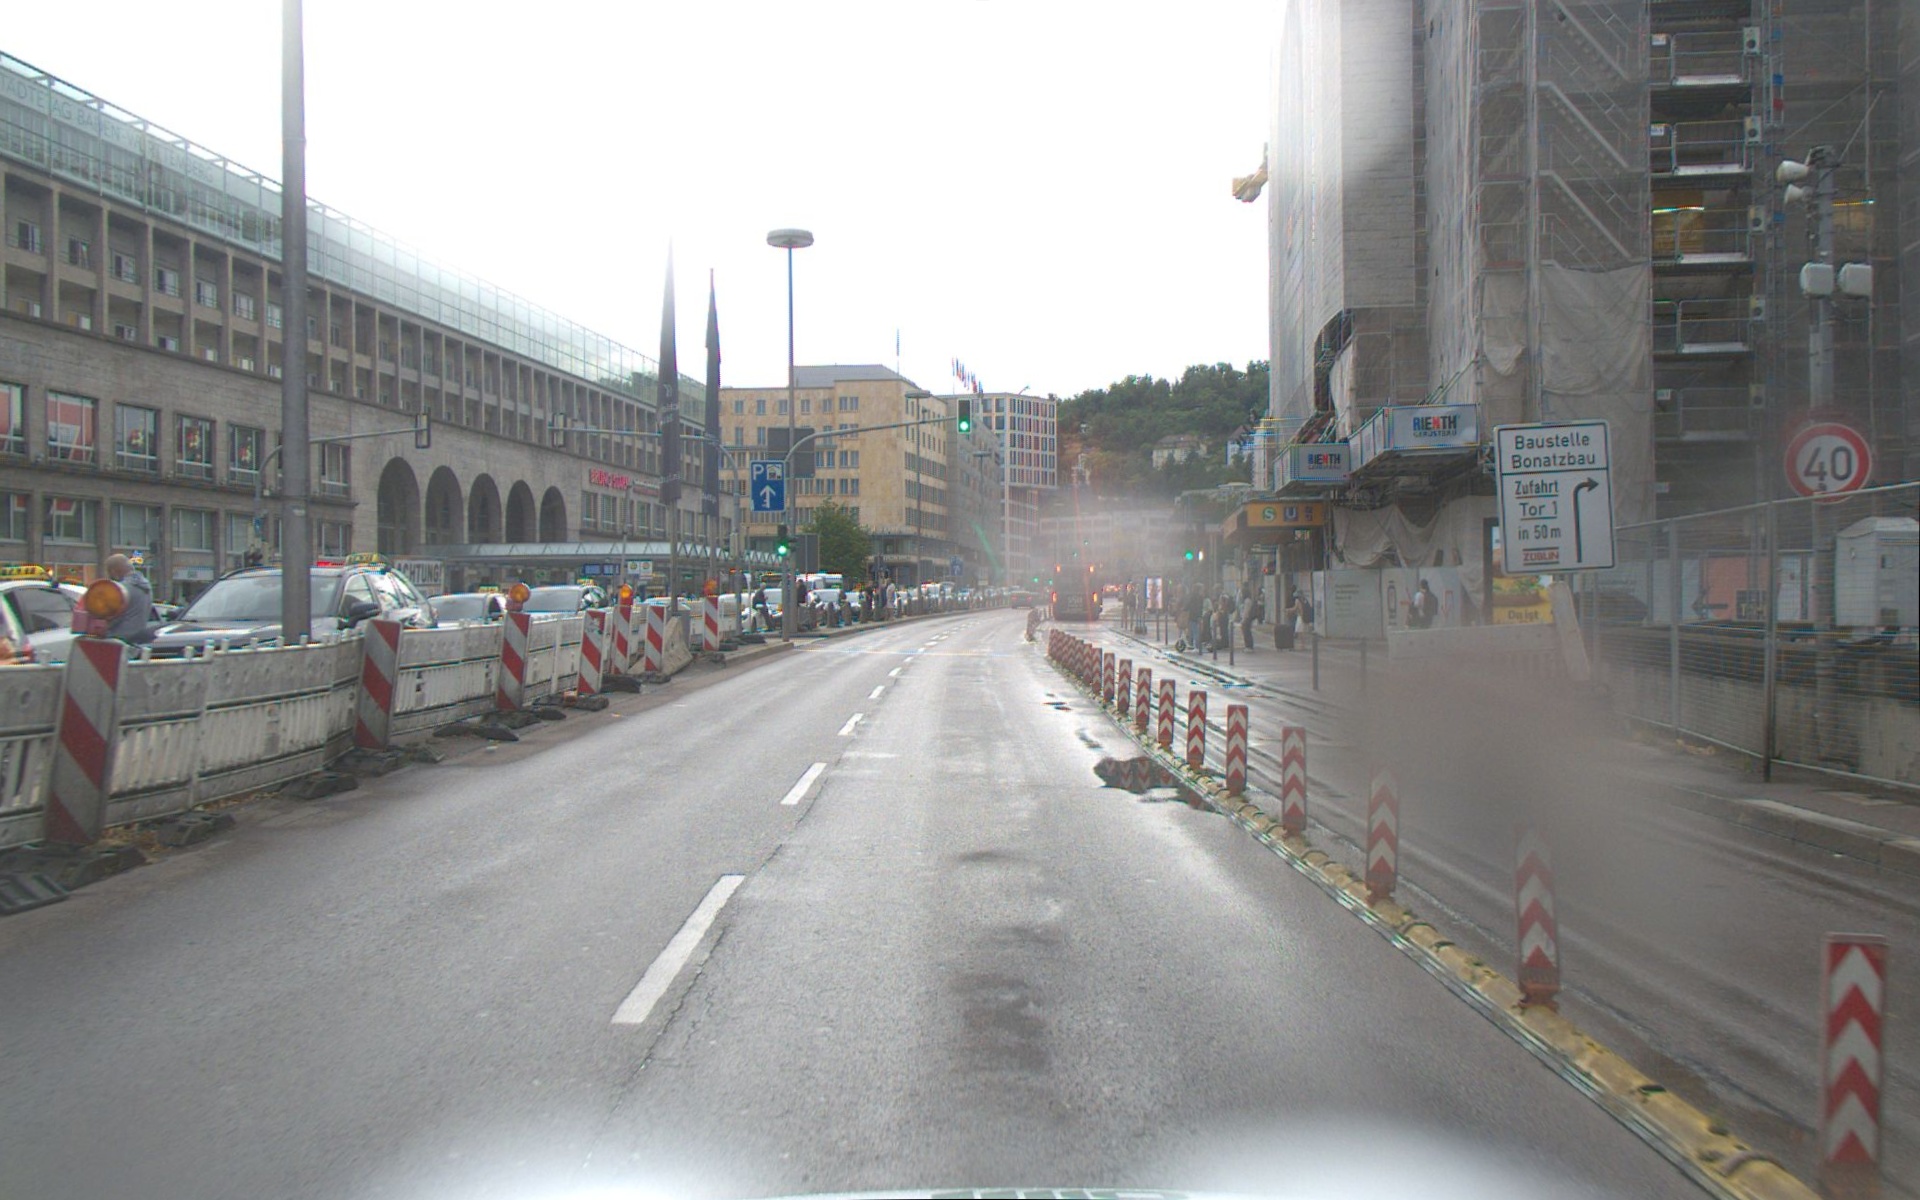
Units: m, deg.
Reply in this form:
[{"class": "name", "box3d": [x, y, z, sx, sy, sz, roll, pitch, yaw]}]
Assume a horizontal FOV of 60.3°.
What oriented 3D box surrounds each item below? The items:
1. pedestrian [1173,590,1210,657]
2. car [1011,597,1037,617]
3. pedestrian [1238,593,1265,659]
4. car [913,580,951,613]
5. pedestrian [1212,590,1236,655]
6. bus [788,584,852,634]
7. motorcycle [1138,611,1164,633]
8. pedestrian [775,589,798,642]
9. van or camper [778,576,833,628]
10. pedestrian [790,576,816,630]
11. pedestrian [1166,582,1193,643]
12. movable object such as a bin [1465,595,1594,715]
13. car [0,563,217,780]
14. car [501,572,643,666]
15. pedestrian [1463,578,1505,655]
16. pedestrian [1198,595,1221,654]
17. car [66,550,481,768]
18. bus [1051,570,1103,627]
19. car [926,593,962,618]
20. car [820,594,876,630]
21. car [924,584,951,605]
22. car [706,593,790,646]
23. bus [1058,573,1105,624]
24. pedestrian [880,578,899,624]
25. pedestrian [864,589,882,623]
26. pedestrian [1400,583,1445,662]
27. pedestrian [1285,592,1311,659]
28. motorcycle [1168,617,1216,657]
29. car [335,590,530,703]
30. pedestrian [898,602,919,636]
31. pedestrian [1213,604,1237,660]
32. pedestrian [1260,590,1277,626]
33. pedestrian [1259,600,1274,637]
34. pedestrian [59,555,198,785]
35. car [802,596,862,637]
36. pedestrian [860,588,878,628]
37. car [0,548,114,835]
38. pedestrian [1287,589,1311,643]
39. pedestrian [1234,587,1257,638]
[{"class": "pedestrian", "box3d": [6.170, 0.611, 44.052, 0.575, 1.771, 0.811, 0, 0, -37]}, {"class": "car", "box3d": [5.249, 0.546, 136.595, 1.952, 1.579, 4.000, -1, 0, 0]}, {"class": "pedestrian", "box3d": [7.591, 0.669, 43.086, 0.546, 1.679, 0.615, -3, 0, 6]}, {"class": "car", "box3d": [-1.907, -0.268, 115.085, 1.951, 2.217, 5.548, -1, 0, 6]}, {"class": "pedestrian", "box3d": [7.383, 0.624, 46.258, 0.546, 1.782, 0.712, -3, 0, 6]}, {"class": "bus", "box3d": [-10.229, 0.624, 121.739, 2.816, 3.520, 10.581, 0, 0, 6]}, {"class": "motorcycle", "box3d": [10.465, 1.185, 90.474, 0.577, 1.186, 1.606, 0, 0, 44]}, {"class": "pedestrian", "box3d": [-5.821, 0.508, 55.541, 0.637, 1.741, 0.593, 1, 0, 3]}, {"class": "van or camper", "box3d": [-8.149, 0.068, 87.654, 1.952, 2.558, 5.373, -3, 0, 3]}, {"class": "pedestrian", "box3d": [-5.366, 0.102, 56.459, 0.767, 1.806, 0.605, -3, 0, -7]}, {"class": "pedestrian", "box3d": [6.554, 0.372, 49.455, 0.547, 1.789, 0.750, -3, 0, -8]}, {"class": "movable object such as a bin", "box3d": [7.584, 0.702, 21.983, 1.276, 1.518, 1.529, -1, 0, 33]}, {"class": "car", "box3d": [-9.733, 0.629, 17.005, 1.875, 1.883, 4.567, 5, 1, 2]}, {"class": "car", "box3d": [-8.506, 0.369, 36.672, 1.863, 1.931, 4.525, 1, 1, 3]}, {"class": "pedestrian", "box3d": [11.887, 0.374, 37.525, 0.717, 1.711, 1.110, -1, 0, 7]}, {"class": "pedestrian", "box3d": [7.221, 0.693, 47.959, 0.546, 1.669, 0.752, -3, 0, 6]}, {"class": "car", "box3d": [-6.630, 0.474, 16.682, 1.952, 1.849, 4.813, -1, 1, 3]}, {"class": "bus", "box3d": [6.878, -0.078, 96.380, 2.697, 3.122, 9.086, 1, 0, 6]}, {"class": "car", "box3d": [-1.140, 0.397, 120.446, 1.951, 1.752, 4.785, -1, 0, 7]}, {"class": "car", "box3d": [-5.356, 0.564, 79.826, 1.889, 1.604, 5.264, -2, 0, 5]}, {"class": "car", "box3d": [-1.806, -0.434, 133.425, 1.952, 1.579, 4.002, -1, 0, 3]}, {"class": "car", "box3d": [-7.083, 0.625, 55.812, 1.973, 1.649, 4.844, 0, 0, 3]}, {"class": "bus", "box3d": [7.778, -0.074, 105.399, 2.697, 3.119, 8.999, 1, 0, 6]}, {"class": "pedestrian", "box3d": [-3.194, 0.045, 75.035, 0.707, 2.043, 0.773, 1, 0, 5]}, {"class": "pedestrian", "box3d": [-4.157, 0.278, 78.904, 0.707, 1.634, 0.996, 1, 0, 5]}, {"class": "pedestrian", "box3d": [10.361, 0.503, 37.074, 0.720, 1.707, 0.958, -3, 0, 4]}, {"class": "pedestrian", "box3d": [8.751, 0.657, 42.853, 0.552, 1.679, 0.615, -3, 0, 10]}, {"class": "motorcycle", "box3d": [6.181, 0.975, 44.041, 0.580, 1.039, 1.223, 0, 0, -37]}, {"class": "car", "box3d": [-9.082, 0.734, 28.862, 1.746, 1.752, 4.485, -1, 1, 3]}, {"class": "pedestrian", "box3d": [-2.696, 0.987, 86.294, 1.028, 1.799, 0.617, 0, 0, 4]}, {"class": "pedestrian", "box3d": [7.208, 0.858, 44.986, 0.546, 1.474, 0.712, -3, 0, 6]}, {"class": "pedestrian", "box3d": [13.647, 0.360, 73.157, 0.637, 1.566, 0.666, -3, 0, 6]}, {"class": "pedestrian", "box3d": [16.031, 0.946, 86.532, 0.631, 1.880, 0.659, -3, 0, 5]}, {"class": "pedestrian", "box3d": [-7.607, 0.623, 15.170, 0.857, 2.049, 0.821, 0, 0, -1]}, {"class": "car", "box3d": [-5.659, 0.720, 73.732, 1.889, 1.720, 4.685, -2, 0, 5]}, {"class": "pedestrian", "box3d": [-4.132, 0.366, 75.058, 0.684, 1.785, 0.712, 0, 0, 5]}, {"class": "car", "box3d": [-7.074, 0.610, 9.305, 1.952, 1.801, 4.813, -1, 1, 3]}, {"class": "pedestrian", "box3d": [10.592, 0.487, 51.644, 0.538, 1.660, 0.996, -3, 0, 5]}, {"class": "pedestrian", "box3d": [10.869, 0.467, 63.018, 0.707, 1.880, 0.811, -3, 0, 5]}]
